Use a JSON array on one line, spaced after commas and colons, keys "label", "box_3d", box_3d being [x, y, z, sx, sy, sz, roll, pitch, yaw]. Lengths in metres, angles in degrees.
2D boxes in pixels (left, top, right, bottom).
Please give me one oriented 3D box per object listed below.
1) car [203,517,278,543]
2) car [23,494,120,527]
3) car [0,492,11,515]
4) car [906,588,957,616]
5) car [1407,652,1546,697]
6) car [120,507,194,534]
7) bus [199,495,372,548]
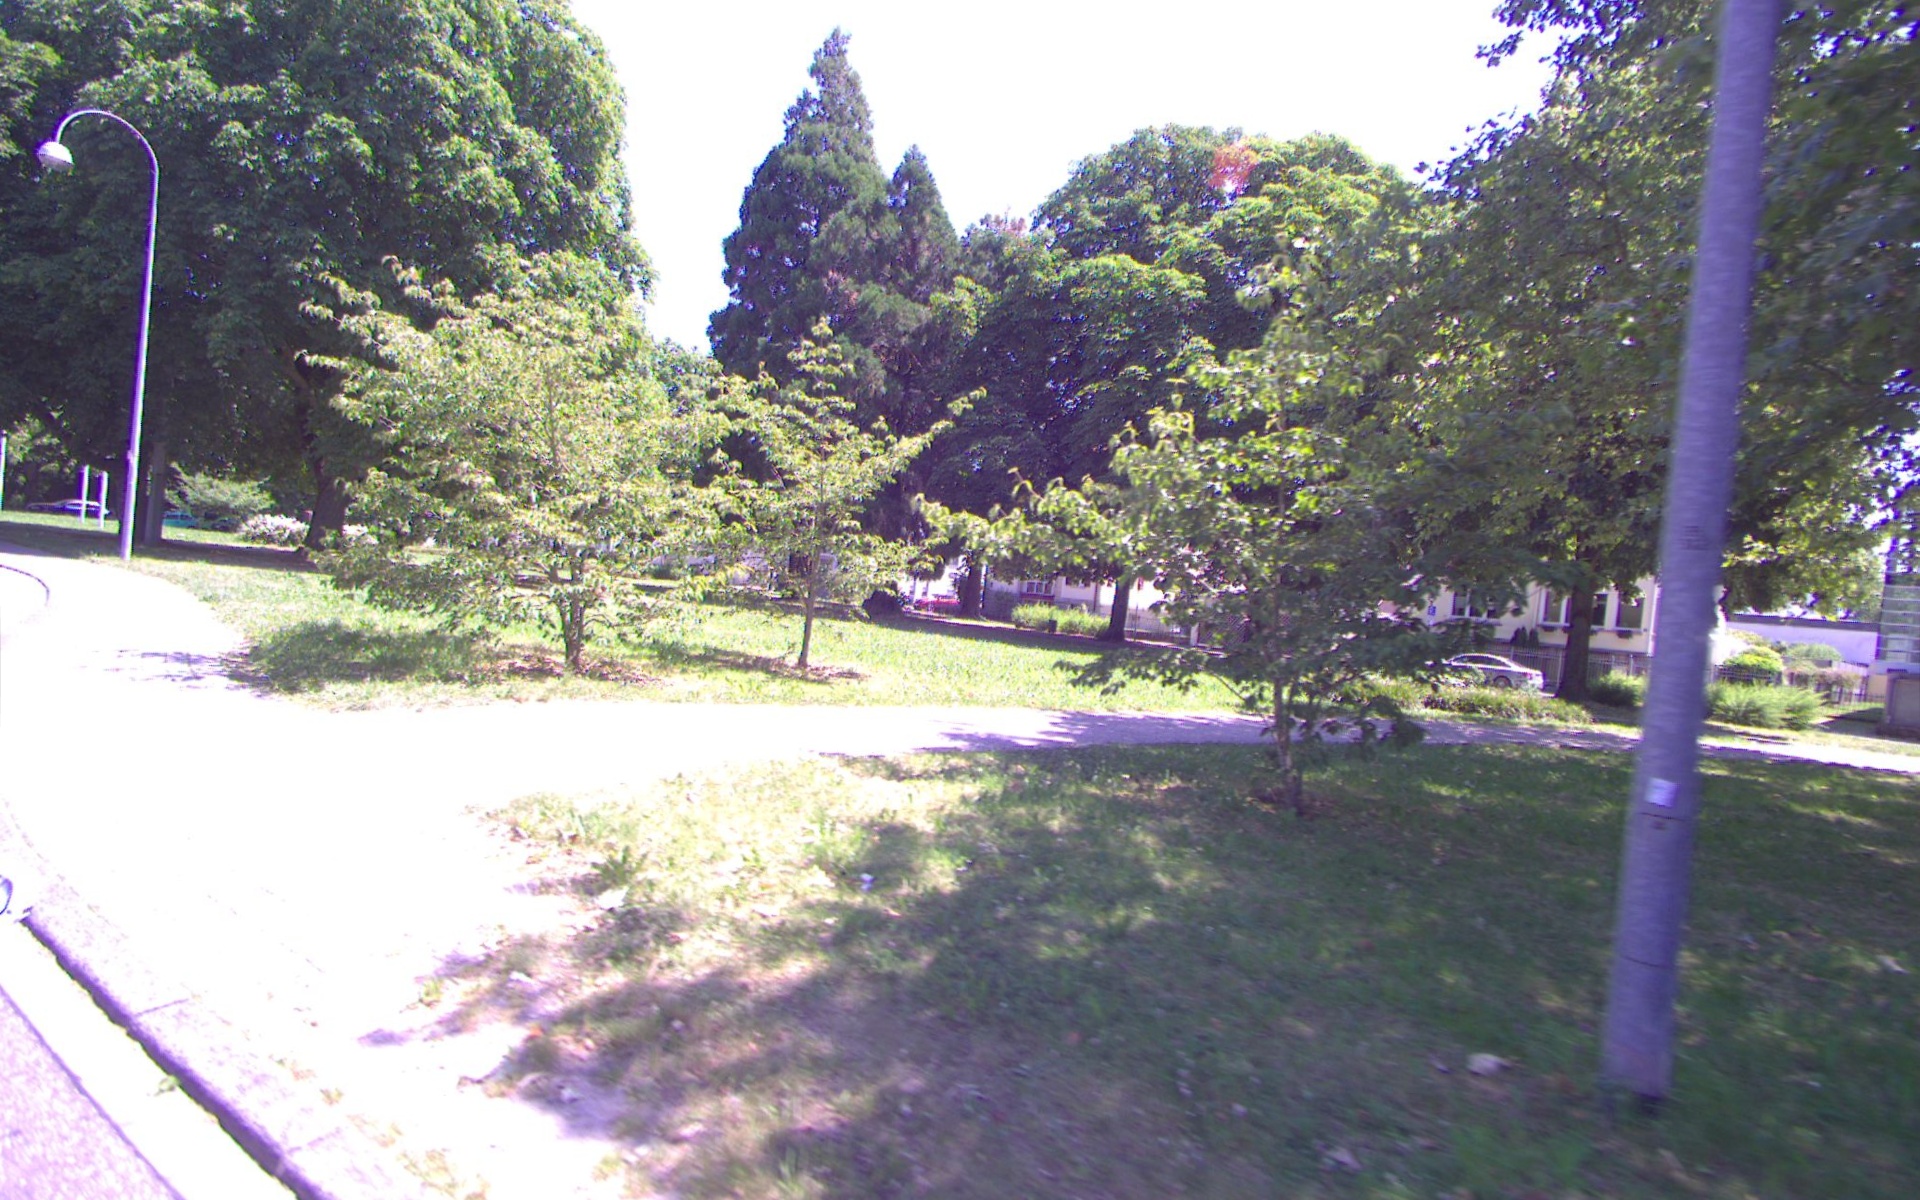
[{"label": "car", "box_3d": [-56.473, -5.504, 78.974, 1.970, 1.433, 4.336, 5, -1, 36]}, {"label": "car", "box_3d": [-62.367, -6.286, 70.650, 1.971, 1.628, 4.817, 7, 1, 40]}, {"label": "car", "box_3d": [-65.794, -6.661, 66.578, 1.971, 1.485, 4.099, 7, 1, 39]}, {"label": "car", "box_3d": [-2.273, 0.190, 81.338, 3.728, 1.982, 1.812, 5, 0, -39]}, {"label": "car", "box_3d": [20.958, 3.007, 40.979, 1.658, 1.304, 4.661, 4, 0, -41]}, {"label": "car", "box_3d": [-59.575, -5.869, 74.680, 1.970, 1.472, 3.879, 5, -1, 37]}, {"label": "bus", "box_3d": [-57.818, -6.644, 86.797, 2.233, 3.015, 12.379, 5, 0, 34]}]
